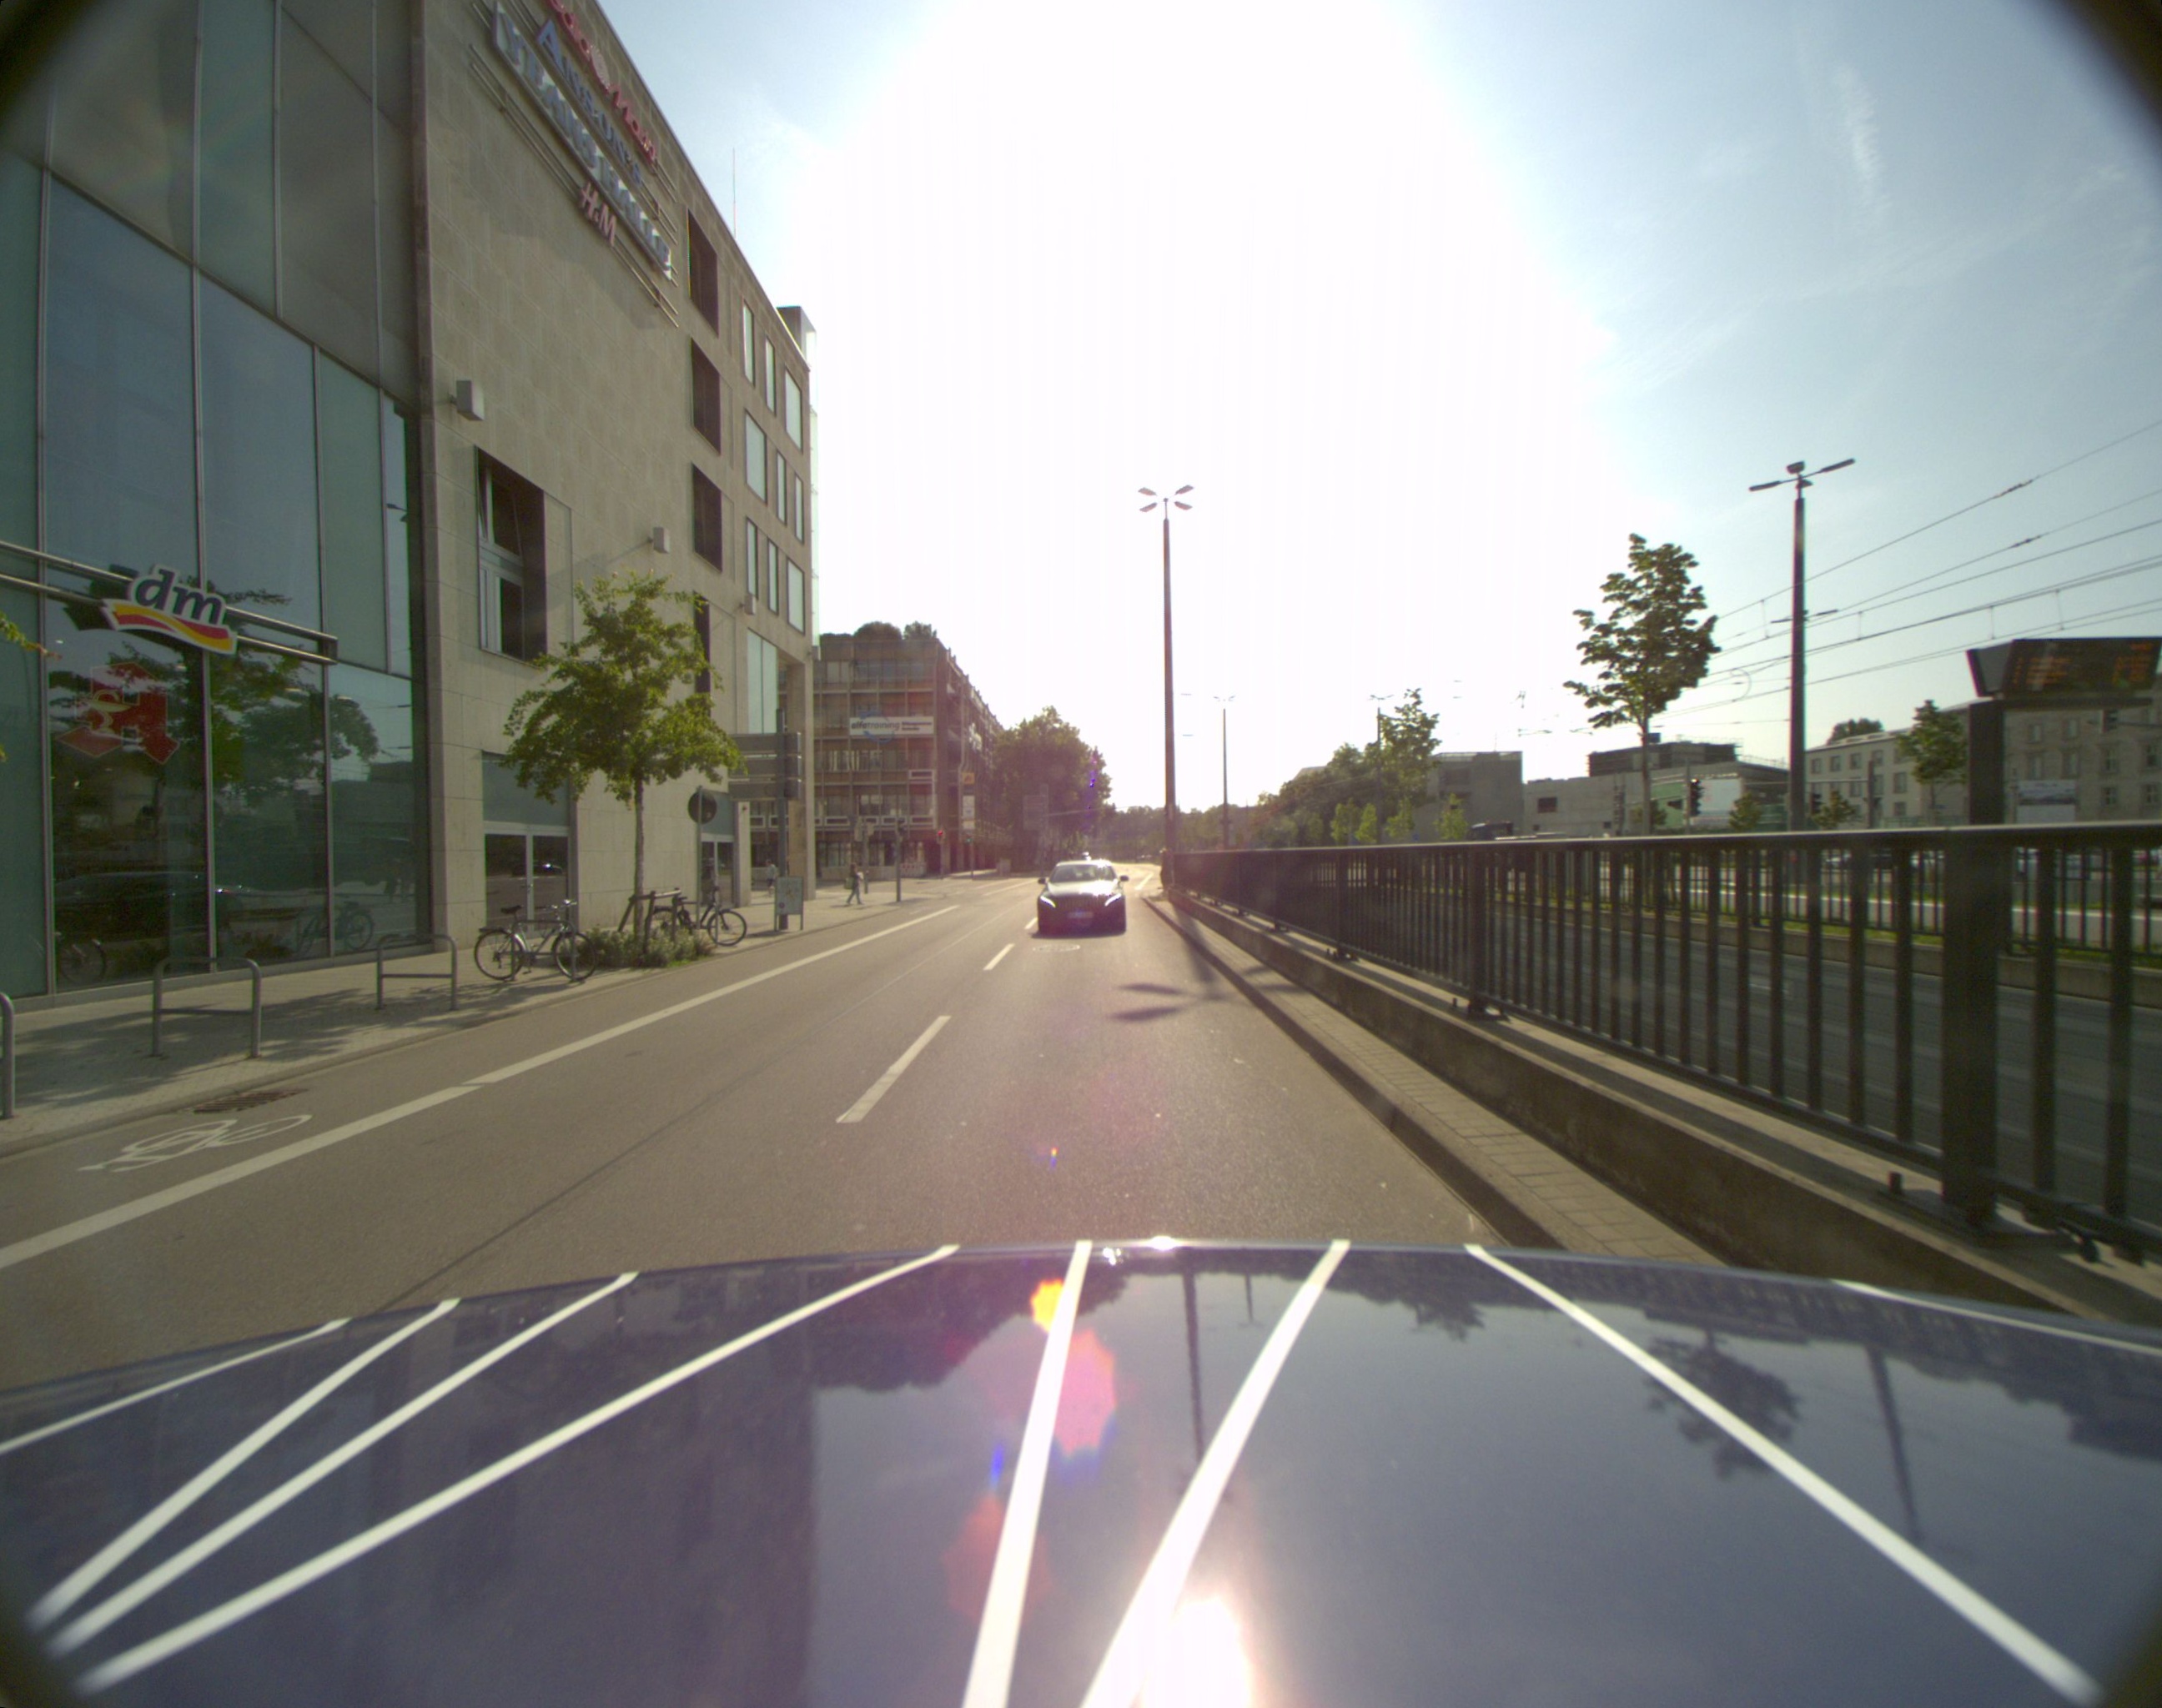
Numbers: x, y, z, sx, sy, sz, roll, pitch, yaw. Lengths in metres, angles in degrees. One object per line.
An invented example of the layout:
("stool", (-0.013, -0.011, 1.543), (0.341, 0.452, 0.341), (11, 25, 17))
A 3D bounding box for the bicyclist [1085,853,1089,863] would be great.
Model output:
("bicyclist", (0.936, 0.578, 117.632), (0.612, 1.504, 0.813), (-1, 0, -8))

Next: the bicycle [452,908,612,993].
("bicycle", (-7.583, 1.324, 10.521), (1.882, 1.103, 0.490), (-1, 0, 3))

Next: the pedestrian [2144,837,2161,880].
("pedestrian", (44.221, 0.179, 30.922), (0.561, 1.723, 1.006), (-1, 1, 5))

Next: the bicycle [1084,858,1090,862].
("bicycle", (0.941, 0.949, 117.556), (0.630, 0.702, 1.808), (-1, 0, -8))

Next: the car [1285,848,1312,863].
("car", (27.130, 0.218, 94.976), (1.620, 1.778, 4.516), (-1, 0, -5))

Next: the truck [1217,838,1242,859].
("truck", (28.307, -1.013, 145.380), (2.979, 3.787, 10.424), (-1, 0, 2))

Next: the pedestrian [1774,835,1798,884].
("pedestrian", (24.639, 0.185, 26.544), (0.371, 1.666, 0.641), (-1, 1, 18))

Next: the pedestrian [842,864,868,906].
("pedestrian", (-7.996, 1.085, 26.879), (0.709, 1.479, 0.605), (-1, 0, 2))

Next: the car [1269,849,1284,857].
("car", (48.110, -0.241, 187.118), (2.019, 1.758, 4.821), (-1, 0, -6))

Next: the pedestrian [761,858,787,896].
("pedestrian", (-13.866, 1.029, 34.373), (0.644, 1.701, 0.990), (-1, 0, 9))

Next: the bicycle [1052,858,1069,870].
("bicycle", (-2.199, 1.075, 81.857), (1.831, 1.181, 0.537), (0, 1, 7))

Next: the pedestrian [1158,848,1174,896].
("pedestrian", (2.990, 0.634, 26.719), (0.468, 1.640, 0.777), (-1, 0, 1))

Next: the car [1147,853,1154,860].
("car", (22.075, 0.743, 241.598), (1.998, 2.002, 4.000), (-3, 1, 1))

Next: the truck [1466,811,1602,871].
("truck", (29.695, -0.771, 50.413), (3.030, 3.565, 8.885), (-1, 0, -6))

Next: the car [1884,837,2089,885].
("car", (32.709, 0.214, 27.699), (1.797, 1.572, 4.613), (-1, 0, -5))

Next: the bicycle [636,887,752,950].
("bicycle", (-7.461, 1.236, 14.696), (1.843, 1.106, 0.687), (-3, 0, 3))

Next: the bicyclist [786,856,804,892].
("bicyclist", (-14.069, 0.984, 37.428), (0.636, 1.728, 0.582), (-1, 1, 2))

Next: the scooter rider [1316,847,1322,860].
("scooter rider", (30.401, -0.052, 97.055), (0.538, 1.688, 0.549), (-1, 1, -4))

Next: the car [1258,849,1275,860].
("car", (28.489, 0.087, 116.731), (1.644, 1.592, 3.999), (-1, 0, -2))

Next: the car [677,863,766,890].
("car", (-19.613, 1.219, 41.549), (3.901, 1.359, 1.878), (-1, 1, 6))

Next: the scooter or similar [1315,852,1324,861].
("scooter or similar", (30.419, 0.289, 96.947), (0.540, 1.140, 1.383), (-1, 0, -4))

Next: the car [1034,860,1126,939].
("car", (0.137, 0.911, 17.267), (1.716, 1.429, 5.058), (-2, 0, 4))

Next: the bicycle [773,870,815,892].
("bicycle", (-14.138, 1.315, 37.424), (1.806, 1.011, 0.612), (-1, 0, 1))

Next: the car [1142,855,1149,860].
("car", (21.424, 1.067, 250.704), (1.998, 1.523, 4.000), (-3, 0, 1))

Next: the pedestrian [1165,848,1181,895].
("pedestrian", (3.342, 0.626, 27.544), (0.468, 1.640, 0.777), (-1, 0, 1))
